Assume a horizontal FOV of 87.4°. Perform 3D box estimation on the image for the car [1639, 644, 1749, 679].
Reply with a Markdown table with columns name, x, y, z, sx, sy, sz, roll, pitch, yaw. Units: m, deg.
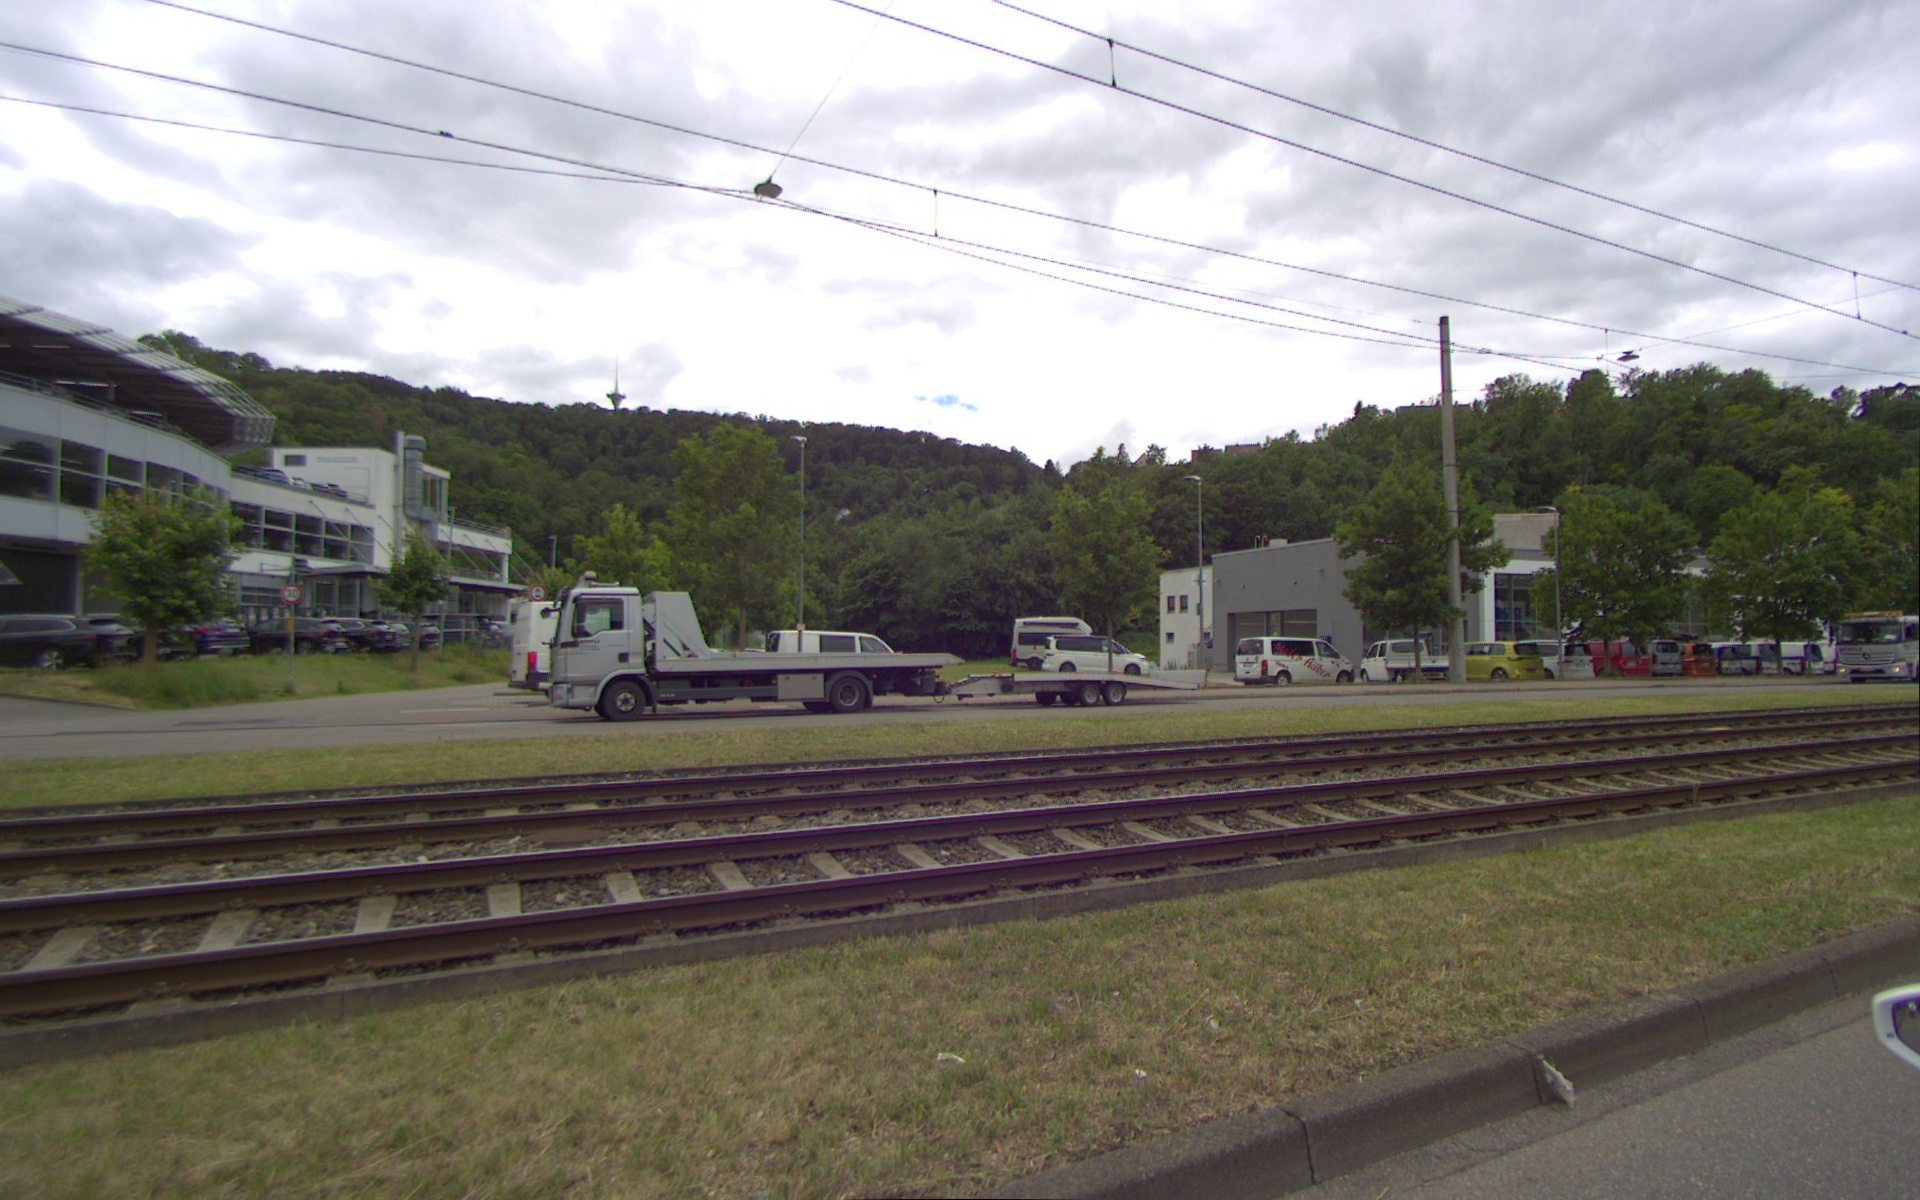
| name | x | y | z | sx | sy | sz | roll | pitch | yaw |
| --- | --- | --- | --- | --- | --- | --- | --- | --- | --- |
| car | 35.940 | 2.989 | 49.293 | 1.968 | 1.639 | 3.987 | 1 | -2 | -17 |

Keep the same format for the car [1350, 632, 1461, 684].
| name | x | y | z | sx | sy | sz | roll | pitch | yaw |
| --- | --- | --- | --- | --- | --- | --- | --- | --- | --- |
| car | 18.579 | 2.415 | 42.271 | 2.101 | 2.034 | 5.716 | 0 | -3 | 0 |

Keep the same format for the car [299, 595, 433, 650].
| name | x | y | z | sx | sy | sz | roll | pitch | yaw |
| --- | --- | --- | --- | --- | --- | --- | --- | --- | --- |
| car | -22.820 | 0.888 | 38.680 | 3.920 | 2.040 | 2.001 | 0 | -2 | 1 |

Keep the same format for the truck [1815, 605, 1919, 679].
| name | x | y | z | sx | sy | sz | roll | pitch | yaw |
| --- | --- | --- | --- | --- | --- | --- | --- | --- | --- |
| truck | 39.164 | 1.754 | 40.798 | 9.083 | 2.777 | 2.752 | 1 | -4 | -22 |

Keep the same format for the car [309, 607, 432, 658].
| name | x | y | z | sx | sy | sz | roll | pitch | yaw |
| --- | --- | --- | --- | --- | --- | --- | --- | --- | --- |
| car | -24.592 | 1.370 | 42.022 | 3.920 | 2.040 | 2.001 | 0 | -2 | 1 |

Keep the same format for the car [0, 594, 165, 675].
| name | x | y | z | sx | sy | sz | roll | pitch | yaw |
| --- | --- | --- | --- | --- | --- | --- | --- | --- | --- |
| car | -23.813 | 0.917 | 26.571 | 3.920 | 2.040 | 2.001 | 0 | -2 | 1 |

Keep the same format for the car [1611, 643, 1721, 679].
| name | x | y | z | sx | sy | sz | roll | pitch | yaw |
| --- | --- | --- | --- | --- | --- | --- | --- | --- | --- |
| car | 33.854 | 2.883 | 48.301 | 1.968 | 1.639 | 3.987 | 1 | -2 | -17 |

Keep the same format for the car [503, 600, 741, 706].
| name | x | y | z | sx | sy | sz | roll | pitch | yaw |
| --- | --- | --- | --- | --- | --- | --- | --- | --- | --- |
| car | -9.050 | 1.384 | 27.256 | 5.808 | 2.594 | 1.979 | 1 | -2 | -37 |

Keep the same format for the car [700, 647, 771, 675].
| name | x | y | z | sx | sy | sz | roll | pitch | yaw |
| --- | --- | --- | --- | --- | --- | --- | --- | --- | --- |
| car | -12.083 | 3.273 | 53.967 | 3.655 | 1.455 | 1.671 | 1 | -2 | -16 |

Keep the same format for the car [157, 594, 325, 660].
| name | x | y | z | sx | sy | sz | roll | pitch | yaw |
| --- | --- | --- | --- | --- | --- | --- | --- | --- | --- |
| car | -23.029 | 0.873 | 32.270 | 3.920 | 2.040 | 2.001 | 0 | -2 | 1 |

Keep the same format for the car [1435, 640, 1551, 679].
| name | x | y | z | sx | sy | sz | roll | pitch | yaw |
| --- | --- | --- | --- | --- | --- | --- | --- | --- | --- |
| car | 23.480 | 2.585 | 44.475 | 2.119 | 1.639 | 4.336 | 1 | -2 | -17 |

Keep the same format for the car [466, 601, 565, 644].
| name | x | y | z | sx | sy | sz | roll | pitch | yaw |
| --- | --- | --- | --- | --- | --- | --- | --- | --- | --- |
| car | -21.803 | 1.137 | 49.333 | 3.920 | 2.040 | 2.001 | 0 | -2 | 1 |

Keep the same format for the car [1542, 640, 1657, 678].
| name | x | y | z | sx | sy | sz | roll | pitch | yaw |
| --- | --- | --- | --- | --- | --- | --- | --- | --- | --- |
| car | 29.416 | 2.671 | 46.346 | 2.029 | 1.639 | 4.178 | 1 | -2 | -17 |

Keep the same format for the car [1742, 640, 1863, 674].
| name | x | y | z | sx | sy | sz | roll | pitch | yaw |
| --- | --- | --- | --- | --- | --- | --- | --- | --- | --- |
| car | 42.873 | 2.875 | 51.266 | 1.971 | 1.639 | 4.365 | 1 | -2 | -17 |

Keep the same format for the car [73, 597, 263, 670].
| name | x | y | z | sx | sy | sz | roll | pitch | yaw |
| --- | --- | --- | --- | --- | --- | --- | --- | --- | --- |
| car | -22.920 | 0.968 | 29.182 | 3.920 | 2.040 | 2.001 | 0 | -2 | 1 |

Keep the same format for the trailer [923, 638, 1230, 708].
| name | x | y | z | sx | sy | sz | roll | pitch | yaw |
| --- | --- | --- | --- | --- | --- | --- | --- | --- | --- |
| trailer | 2.895 | 1.763 | 24.717 | 7.127 | 1.514 | 2.751 | 1 | -5 | -25 |

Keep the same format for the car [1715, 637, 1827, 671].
| name | x | y | z | sx | sy | sz | roll | pitch | yaw |
| --- | --- | --- | --- | --- | --- | --- | --- | --- | --- |
| car | 40.810 | 2.702 | 50.669 | 1.968 | 1.639 | 3.987 | 1 | -2 | -17 |

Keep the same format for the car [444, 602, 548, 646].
| name | x | y | z | sx | sy | sz | roll | pitch | yaw |
| --- | --- | --- | --- | --- | --- | --- | --- | --- | --- |
| car | -21.736 | 1.142 | 47.175 | 3.920 | 2.040 | 2.001 | 0 | -2 | 1 |

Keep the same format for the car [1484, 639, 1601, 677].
| name | x | y | z | sx | sy | sz | roll | pitch | yaw |
| --- | --- | --- | --- | --- | --- | --- | --- | --- | --- |
| car | 26.342 | 2.584 | 45.617 | 2.085 | 1.639 | 4.345 | 1 | -2 | -17 |

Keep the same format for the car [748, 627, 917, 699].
| name | x | y | z | sx | sy | sz | roll | pitch | yaw |
| --- | --- | --- | --- | --- | --- | --- | --- | --- | --- |
| car | -3.869 | 1.865 | 30.568 | 4.743 | 2.040 | 1.988 | 1 | -2 | -26 |

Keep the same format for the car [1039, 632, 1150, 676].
| name | x | y | z | sx | sy | sz | roll | pitch | yaw |
| --- | --- | --- | --- | --- | --- | --- | --- | --- | --- |
| car | 6.410 | 2.581 | 48.161 | 5.033 | 2.040 | 2.000 | 0 | -2 | -2 |

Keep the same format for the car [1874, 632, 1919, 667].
| name | x | y | z | sx | sy | sz | roll | pitch | yaw |
| --- | --- | --- | --- | --- | --- | --- | --- | --- | --- |
| car | 73.238 | 3.712 | 76.087 | 5.869 | 2.636 | 1.993 | -2 | -3 | 43 |

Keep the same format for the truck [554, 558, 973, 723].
| name | x | y | z | sx | sy | sz | roll | pitch | yaw |
| --- | --- | --- | --- | --- | --- | --- | --- | --- | --- |
| truck | -4.092 | 0.893 | 21.385 | 8.338 | 3.020 | 2.857 | 1 | -4 | -25 |

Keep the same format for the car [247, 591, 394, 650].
| name | x | y | z | sx | sy | sz | roll | pitch | yaw |
| --- | --- | --- | --- | --- | --- | --- | --- | --- | --- |
| car | -22.802 | 0.744 | 35.929 | 3.920 | 2.040 | 2.001 | 0 | -2 | 1 |

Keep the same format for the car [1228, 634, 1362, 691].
| name | x | y | z | sx | sy | sz | roll | pitch | yaw |
| --- | --- | --- | --- | --- | --- | --- | --- | --- | --- |
| car | 12.762 | 2.354 | 38.283 | 4.793 | 2.040 | 1.989 | 1 | -2 | -24 |

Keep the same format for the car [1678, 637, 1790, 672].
| name | x | y | z | sx | sy | sz | roll | pitch | yaw |
| --- | --- | --- | --- | --- | --- | --- | --- | --- | --- |
| car | 38.259 | 2.679 | 49.746 | 1.968 | 1.639 | 3.987 | 1 | -2 | -17 |

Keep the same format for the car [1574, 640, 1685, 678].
| name | x | y | z | sx | sy | sz | roll | pitch | yaw |
| --- | --- | --- | --- | --- | --- | --- | --- | --- | --- |
| car | 31.535 | 2.750 | 47.434 | 2.015 | 1.686 | 3.987 | 1 | -2 | -17 |

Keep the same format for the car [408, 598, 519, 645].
| name | x | y | z | sx | sy | sz | roll | pitch | yaw |
| --- | --- | --- | --- | --- | --- | --- | --- | --- | --- |
| car | -22.176 | 0.986 | 44.960 | 3.920 | 2.040 | 2.001 | 0 | -2 | 1 |

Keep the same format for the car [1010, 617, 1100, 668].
| name | x | y | z | sx | sy | sz | roll | pitch | yaw |
| --- | --- | --- | --- | --- | --- | --- | --- | --- | --- |
| car | 5.129 | 2.316 | 54.796 | 4.764 | 2.741 | 2.001 | 0 | -2 | 1 |

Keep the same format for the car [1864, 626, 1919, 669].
| name | x | y | z | sx | sy | sz | roll | pitch | yaw |
| --- | --- | --- | --- | --- | --- | --- | --- | --- | --- |
| car | 52.741 | 2.595 | 54.924 | 2.091 | 2.341 | 4.495 | 1 | -2 | -17 |
